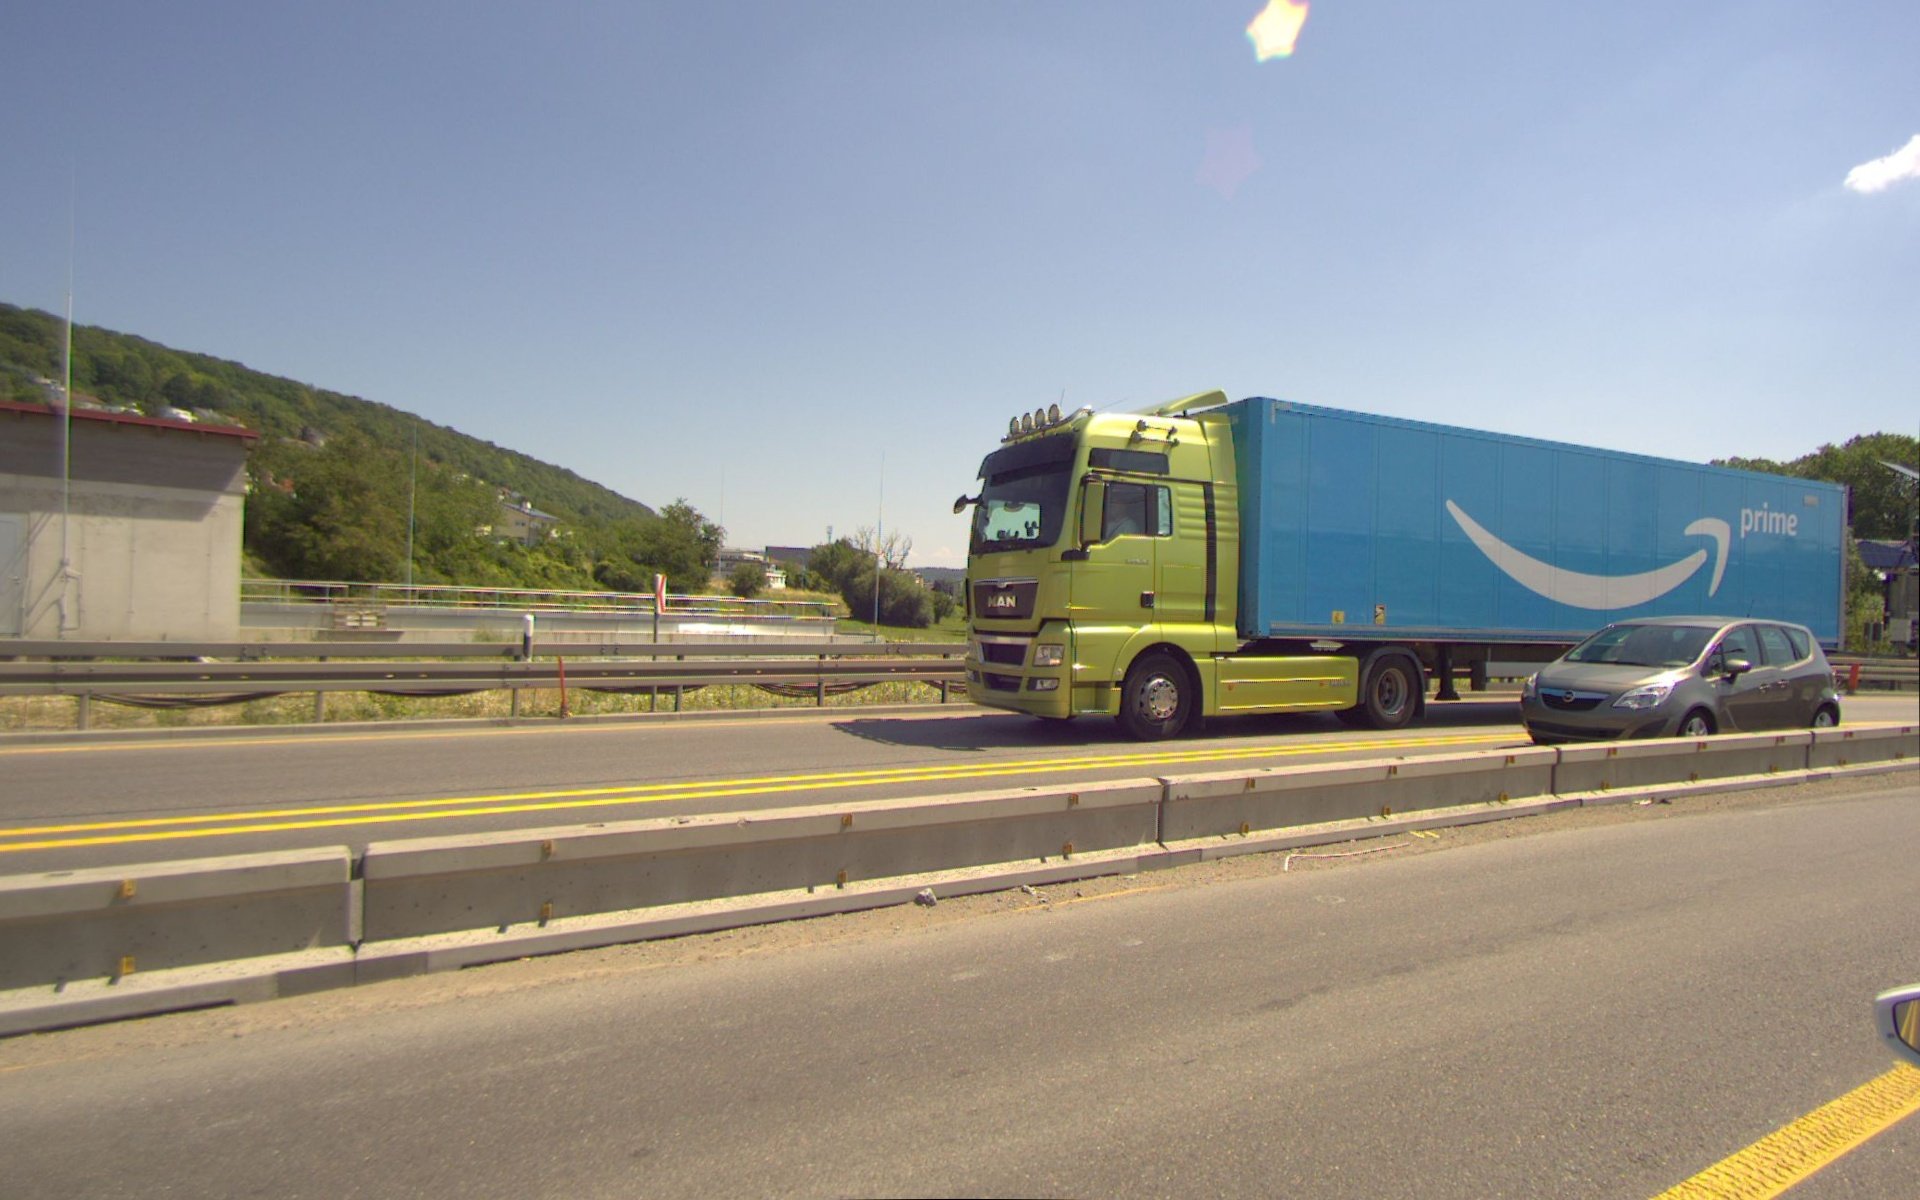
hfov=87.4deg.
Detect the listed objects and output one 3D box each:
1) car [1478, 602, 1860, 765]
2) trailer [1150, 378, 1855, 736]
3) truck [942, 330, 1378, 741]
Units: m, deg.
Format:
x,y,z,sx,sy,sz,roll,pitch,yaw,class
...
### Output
x,y,z,sx,sy,sz,roll,pitch,yaw,class
8.284,0.897,11.705,4.244,1.606,1.814,2,0,-26,car
9.334,-0.249,16.250,13.131,4.350,2.639,3,1,-26,trailer
2.527,-0.605,12.822,4.672,4.327,2.615,3,1,-27,truck
